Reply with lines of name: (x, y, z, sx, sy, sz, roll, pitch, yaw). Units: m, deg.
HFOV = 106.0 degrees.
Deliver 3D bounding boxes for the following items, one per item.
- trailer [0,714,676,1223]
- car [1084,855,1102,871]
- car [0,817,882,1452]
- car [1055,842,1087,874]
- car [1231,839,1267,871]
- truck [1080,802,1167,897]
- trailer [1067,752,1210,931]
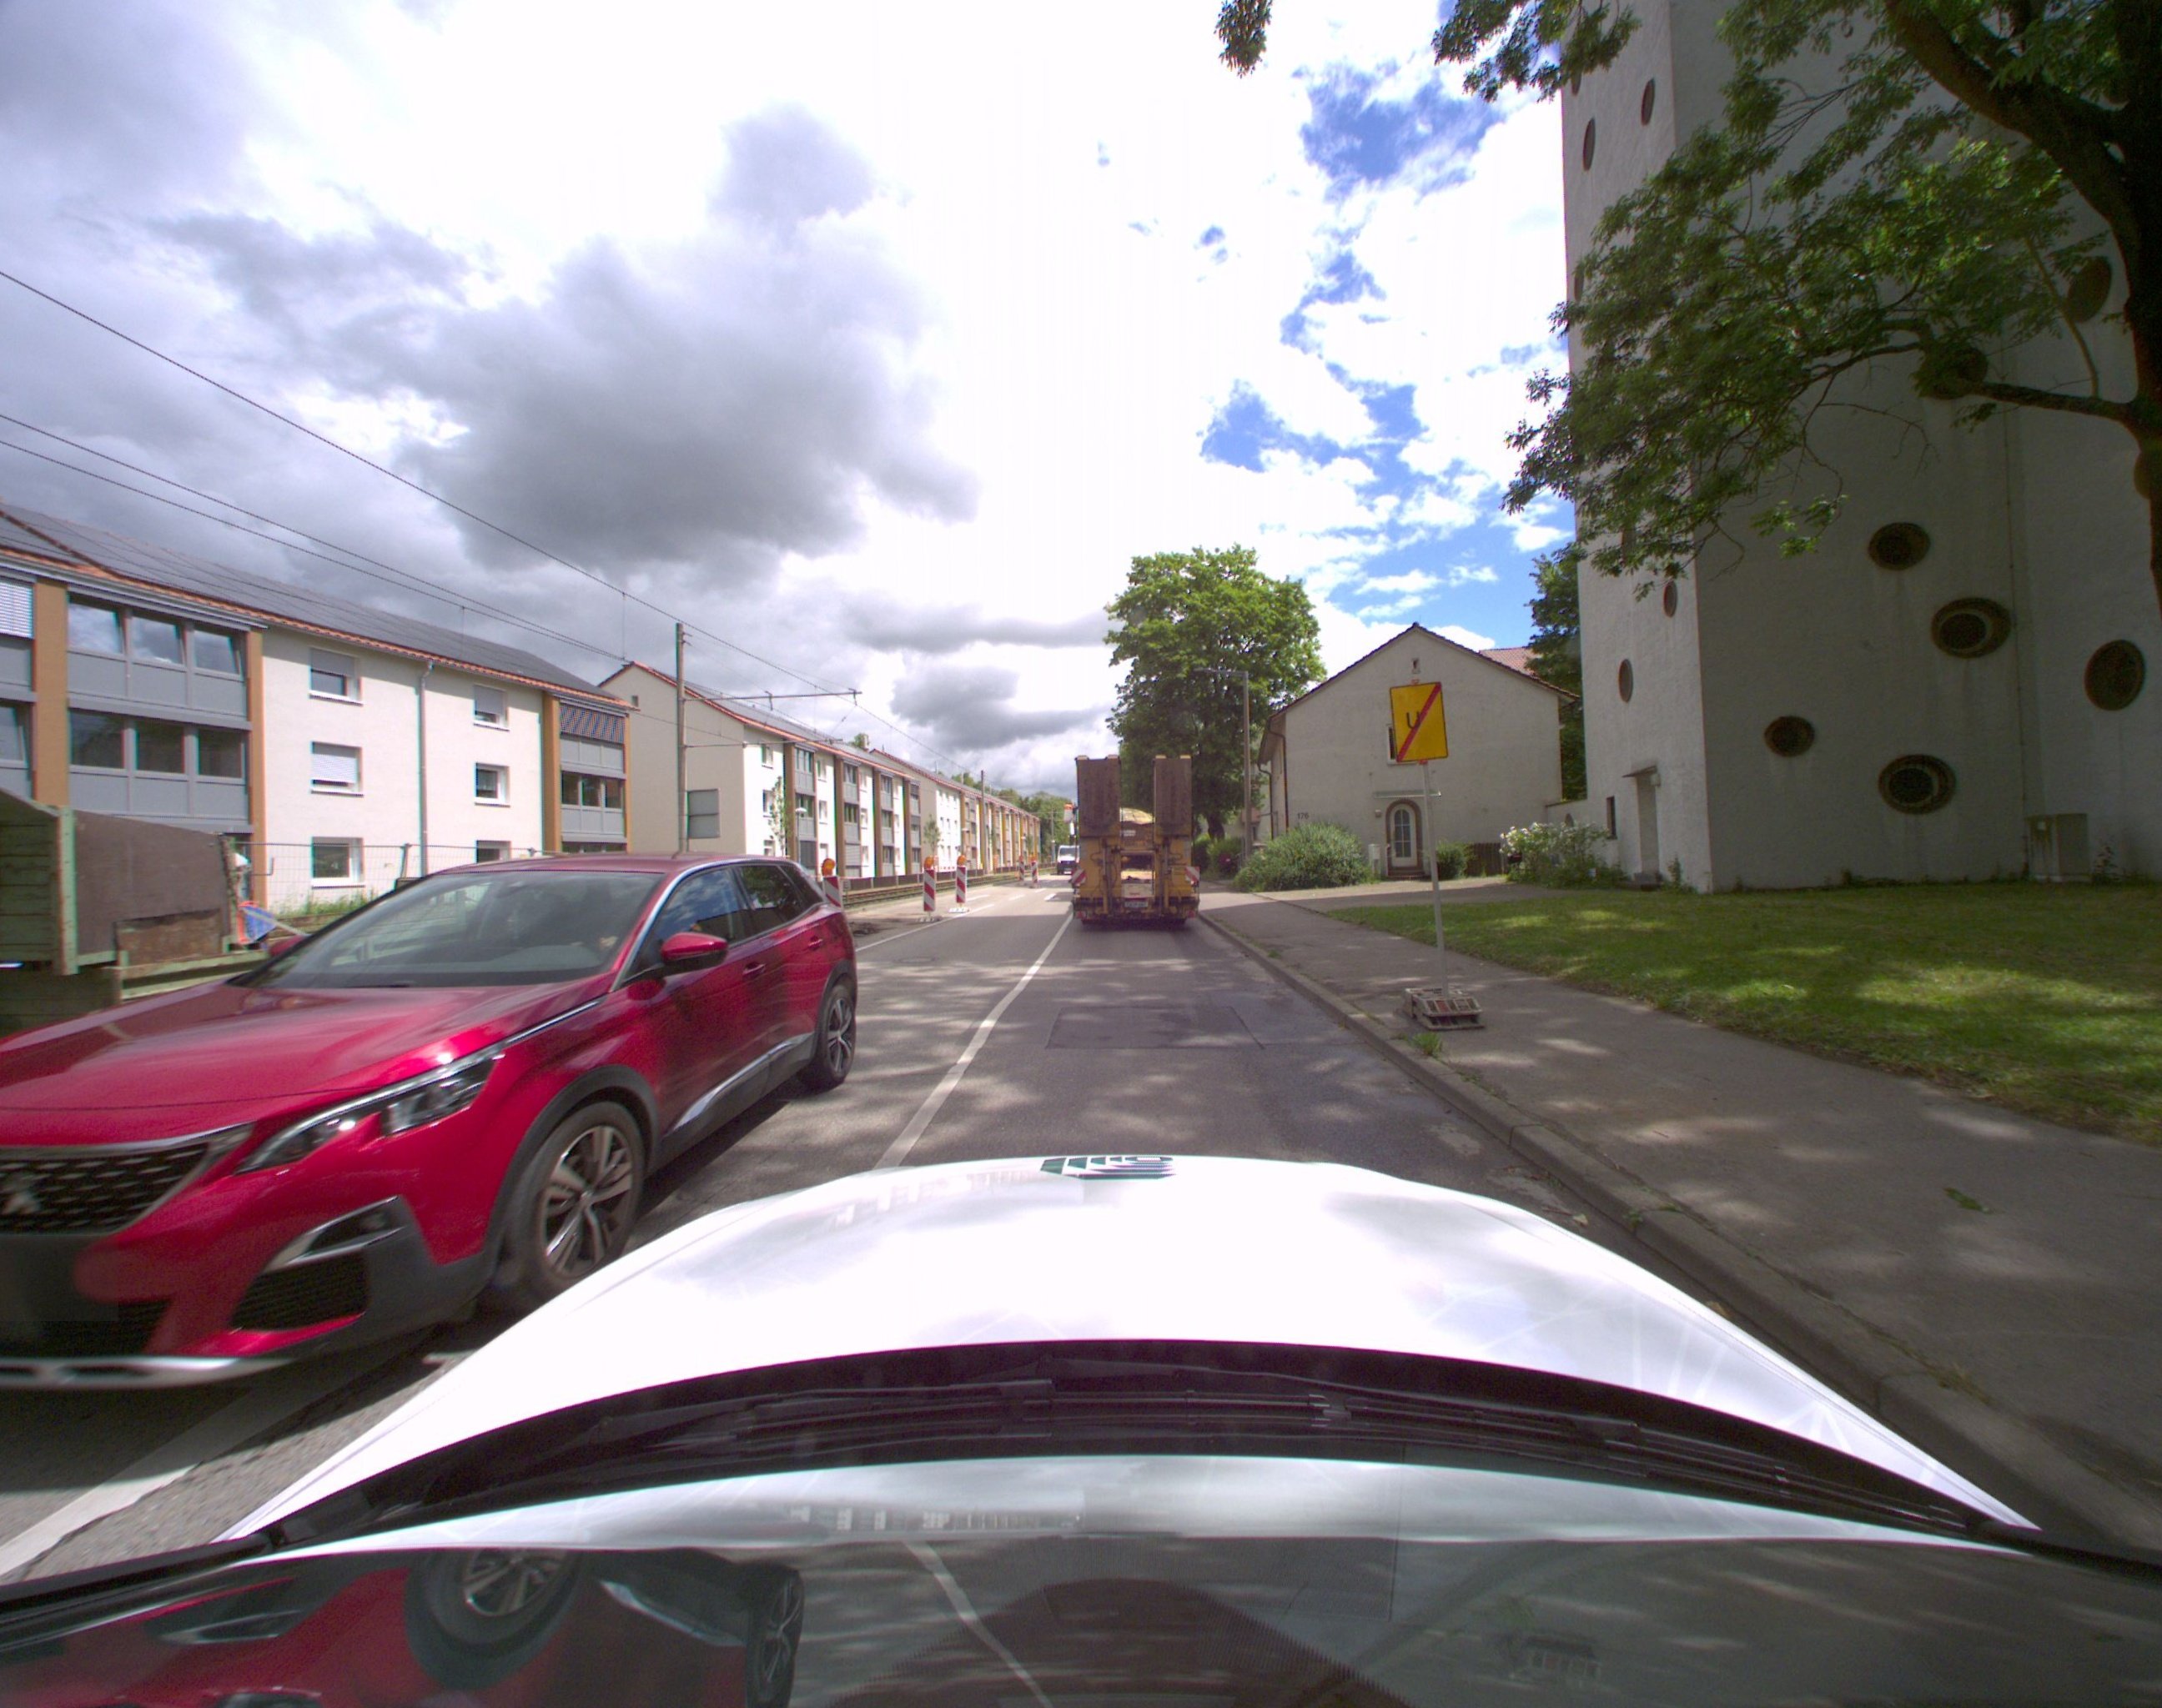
trailer: (-5.946, 0.516, 5.952, 2.652, 2.214, 6.250, -1, 0, 2)
car: (1.250, 0.888, 82.941, 1.711, 1.552, 3.920, 0, 0, 3)
car: (-2.579, 0.754, 4.241, 1.835, 1.618, 4.244, -2, -1, 2)
car: (-0.766, 0.338, 65.490, 1.985, 2.430, 6.328, -1, 0, 4)
car: (9.438, 0.081, 45.874, 1.800, 1.649, 4.012, -3, -1, 11)
truck: (1.498, -0.132, 30.949, 2.907, 3.167, 7.681, 0, 0, 1)
trailer: (1.267, -0.240, 21.584, 2.812, 3.524, 11.054, 0, 0, 1)
